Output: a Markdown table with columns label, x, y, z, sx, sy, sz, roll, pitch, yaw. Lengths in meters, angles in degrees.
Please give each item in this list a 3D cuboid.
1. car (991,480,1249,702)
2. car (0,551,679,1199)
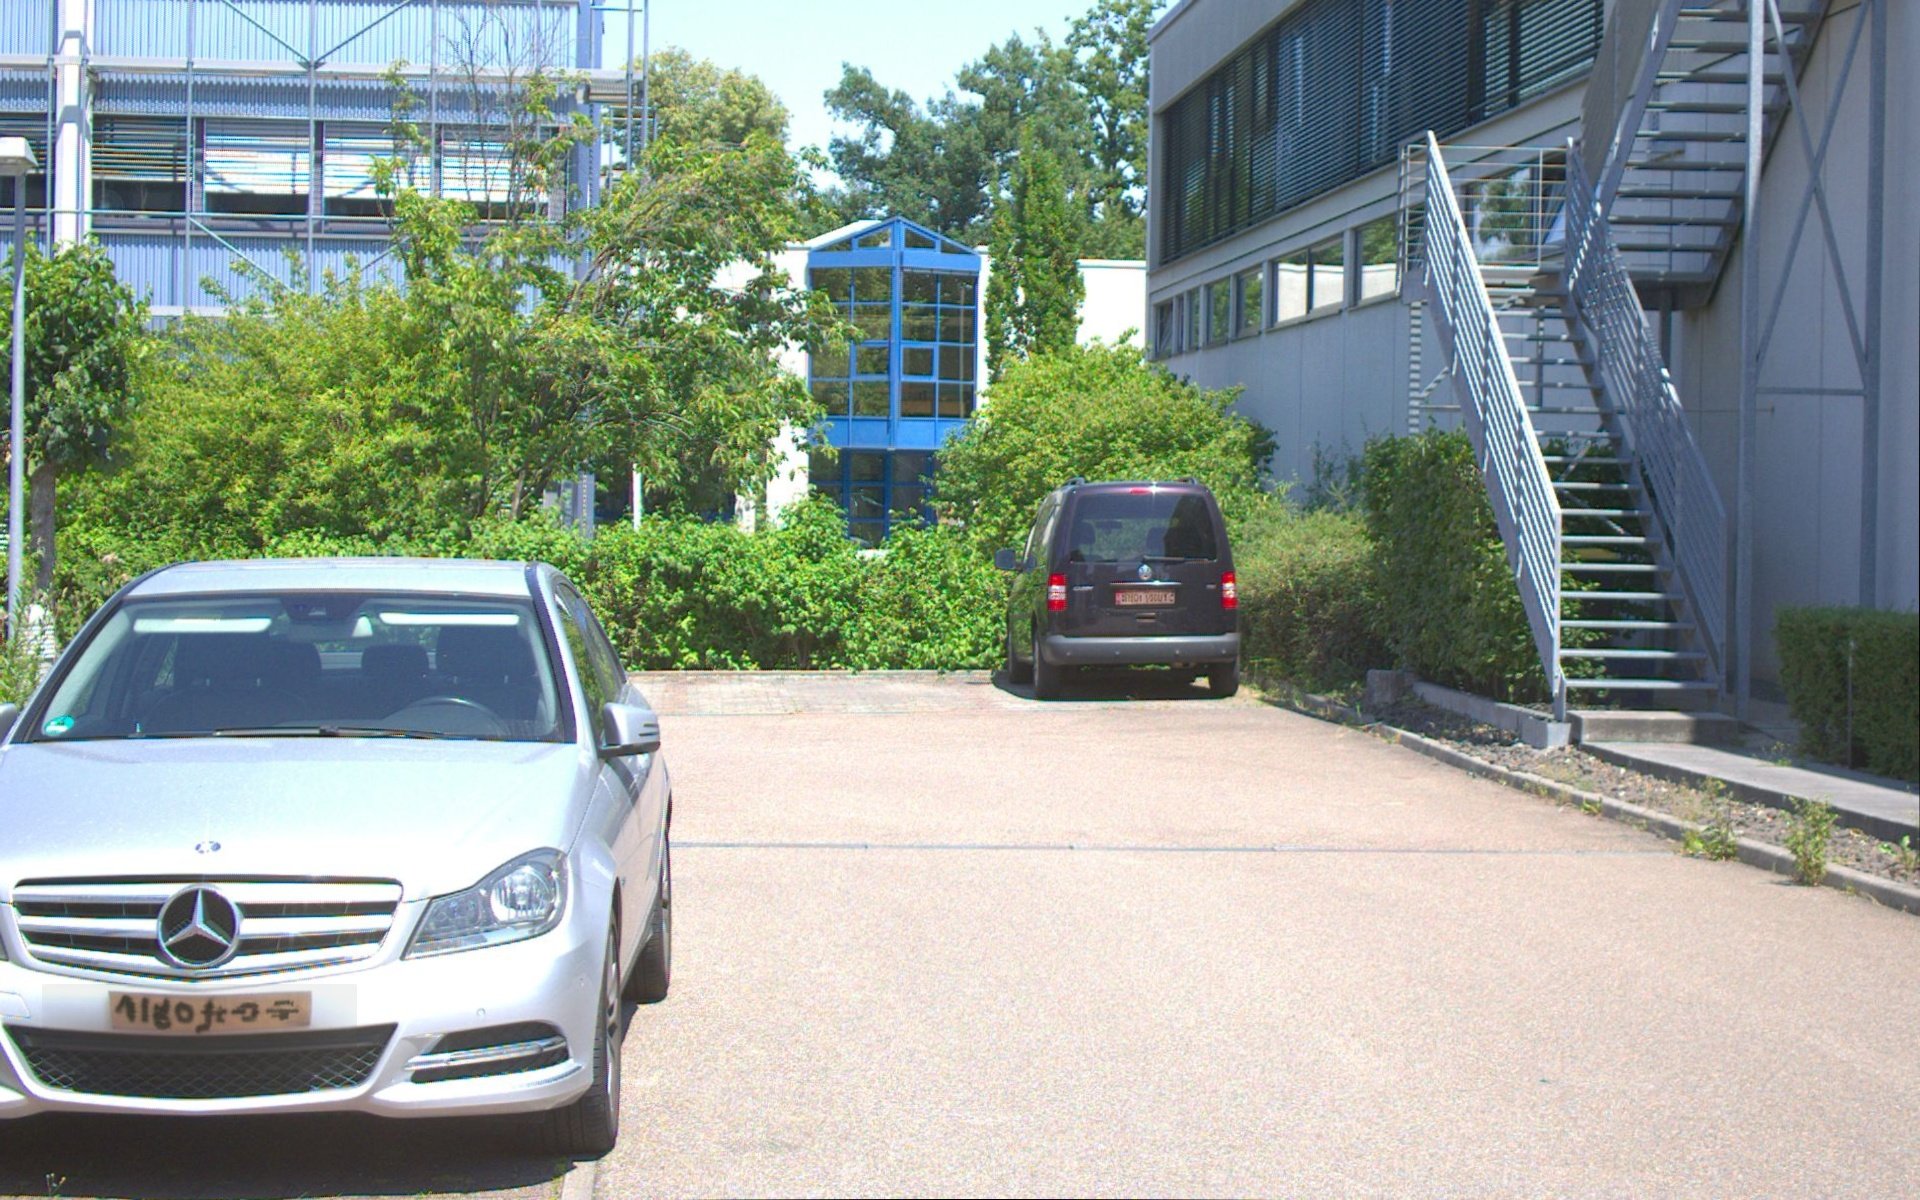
| label | x | y | z | sx | sy | sz | roll | pitch | yaw |
| --- | --- | --- | --- | --- | --- | --- | --- | --- | --- |
| car | 1.348 | -0.137 | 30.543 | 1.743 | 1.830 | 4.001 | 0 | 2 | -5 |
| car | -1.735 | 0.607 | 9.475 | 1.729 | 1.452 | 4.148 | 0 | 1 | -2 |
